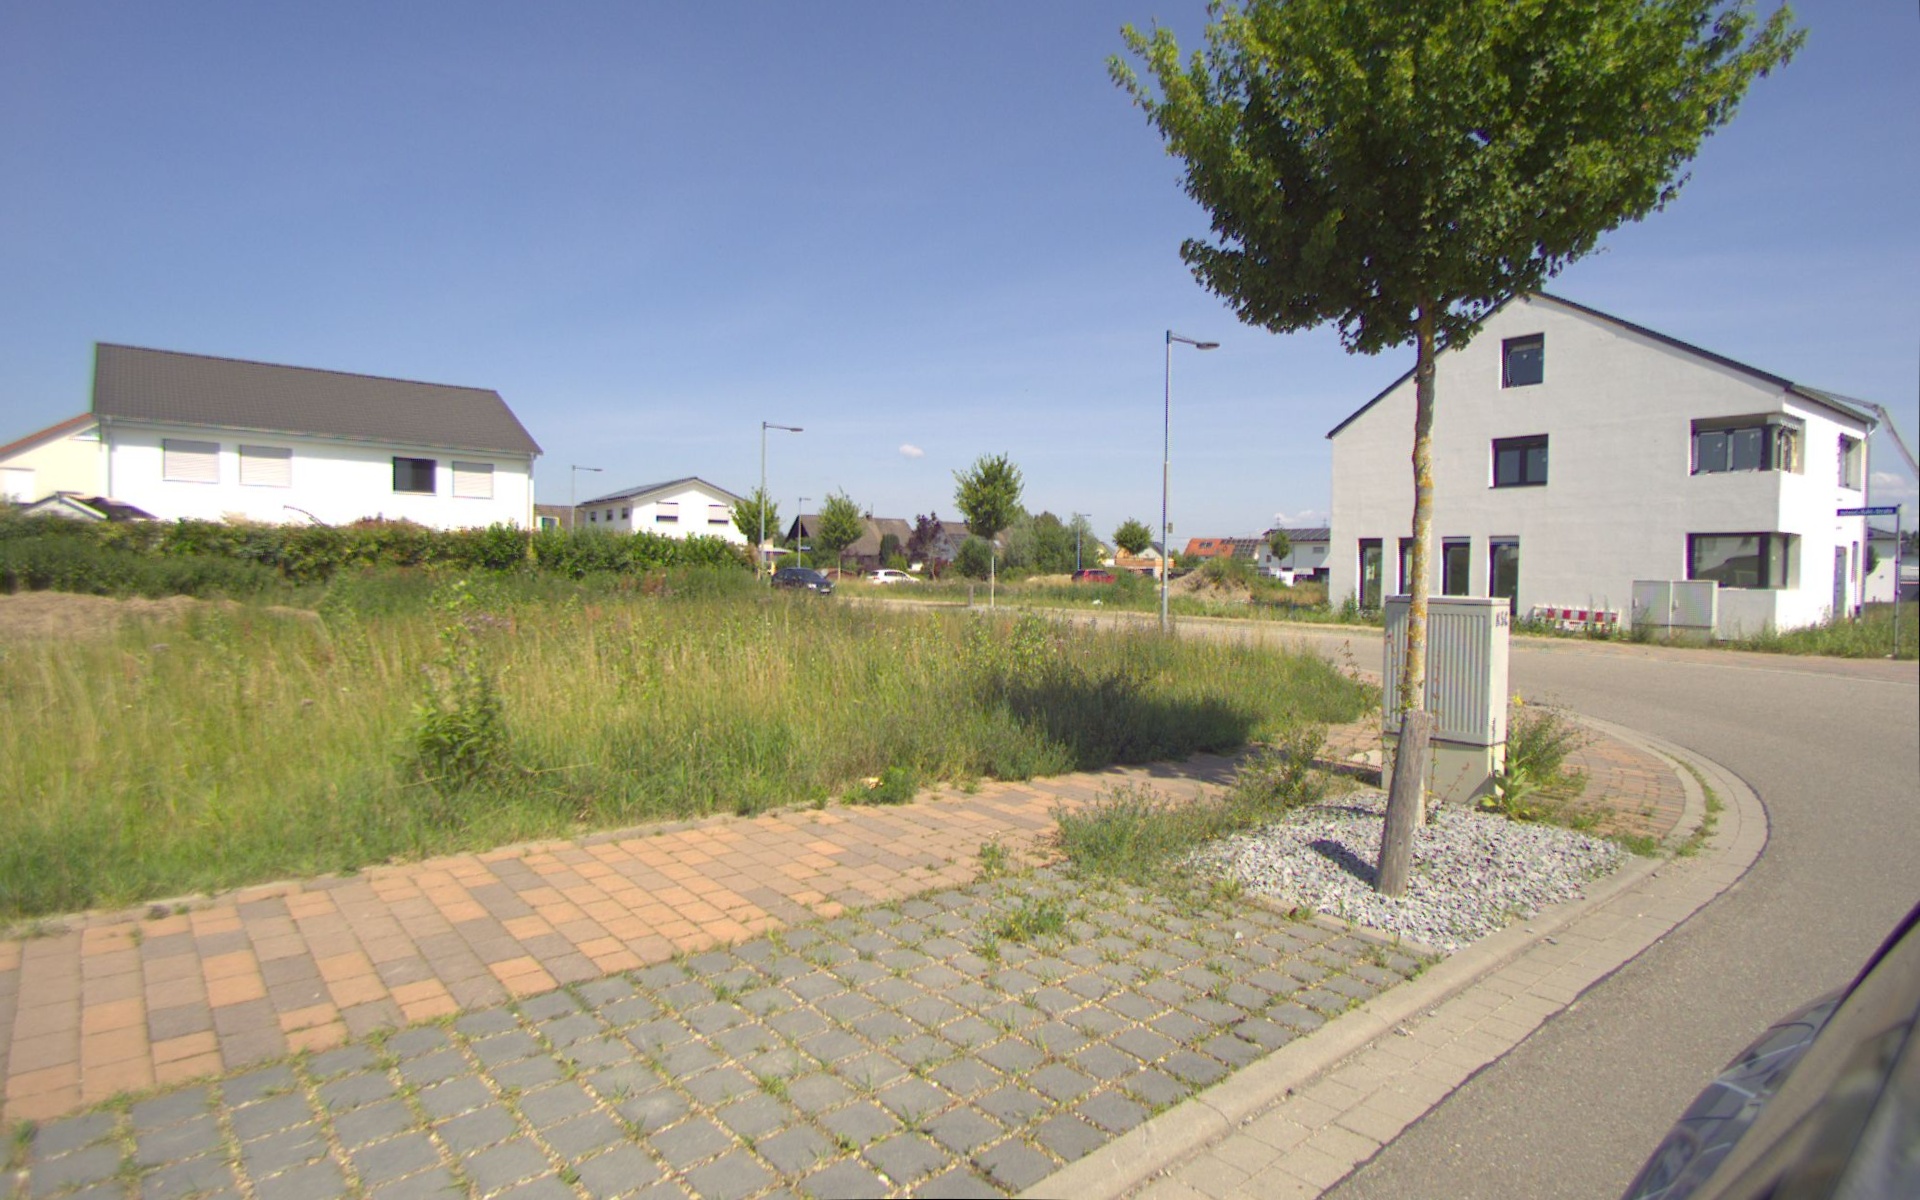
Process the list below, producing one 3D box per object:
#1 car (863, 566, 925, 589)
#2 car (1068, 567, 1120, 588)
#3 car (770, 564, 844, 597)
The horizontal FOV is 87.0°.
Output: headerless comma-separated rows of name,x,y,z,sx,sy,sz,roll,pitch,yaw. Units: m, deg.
car,-4.575,-1.548,70.032,3.922,1.521,1.811,0,2,-33
car,10.736,-1.808,81.027,3.925,1.636,1.809,0,2,-37
car,-7.464,-0.967,49.033,1.785,1.471,4.142,-2,3,-37
